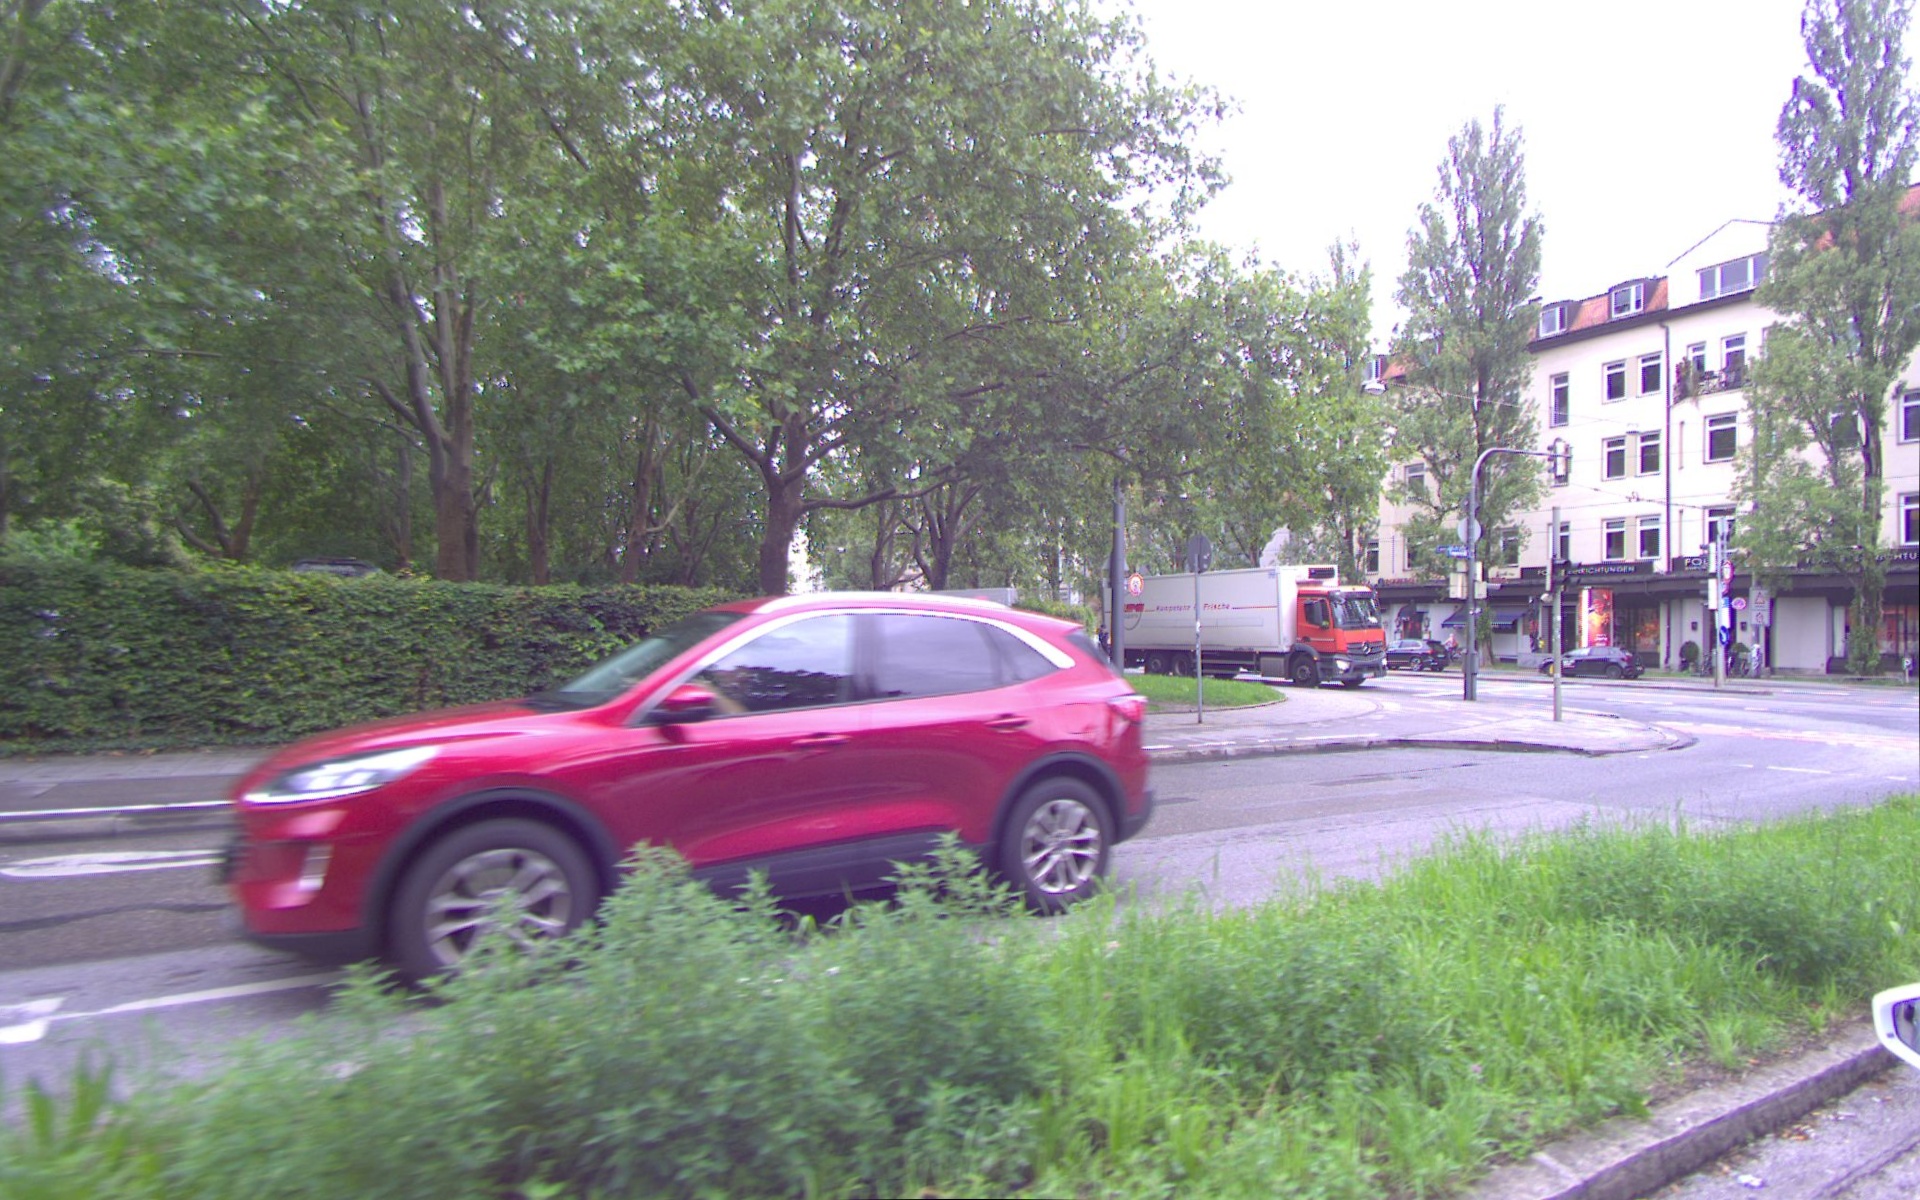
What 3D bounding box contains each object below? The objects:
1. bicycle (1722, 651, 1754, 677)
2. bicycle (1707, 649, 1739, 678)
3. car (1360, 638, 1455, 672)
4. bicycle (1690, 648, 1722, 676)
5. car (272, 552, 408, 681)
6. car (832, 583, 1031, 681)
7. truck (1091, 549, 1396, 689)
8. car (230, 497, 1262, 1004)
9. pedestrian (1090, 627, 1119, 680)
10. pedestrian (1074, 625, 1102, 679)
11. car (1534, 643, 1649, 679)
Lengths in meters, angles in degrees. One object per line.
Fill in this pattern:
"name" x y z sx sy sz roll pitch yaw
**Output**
"bicycle" 33.518 2.765 43.272 1.868 1.096 0.492 2 -2 -32
"bicycle" 33.225 2.752 43.707 1.868 1.200 0.492 2 -2 -32
"car" 23.314 2.834 52.490 1.706 1.633 4.437 2 -2 -29
"bicycle" 32.959 2.749 44.359 1.868 1.200 0.492 2 -2 -32
"car" -14.127 0.347 23.238 1.974 2.569 5.825 2 -1 -26
"car" -0.668 0.823 25.239 4.536 2.039 2.001 -5 -2 12
"truck" 9.089 0.706 34.558 2.715 4.033 11.627 0 -2 -29
"car" -0.853 0.550 5.494 4.883 1.659 2.093 1 -2 -32
"pedestrian" 4.682 1.713 32.511 0.681 1.685 0.654 2 -2 -42
"pedestrian" 4.070 1.638 31.913 0.681 1.685 0.548 2 -2 -42
"car" 27.906 2.671 44.497 1.786 1.485 3.965 3 -3 -32
